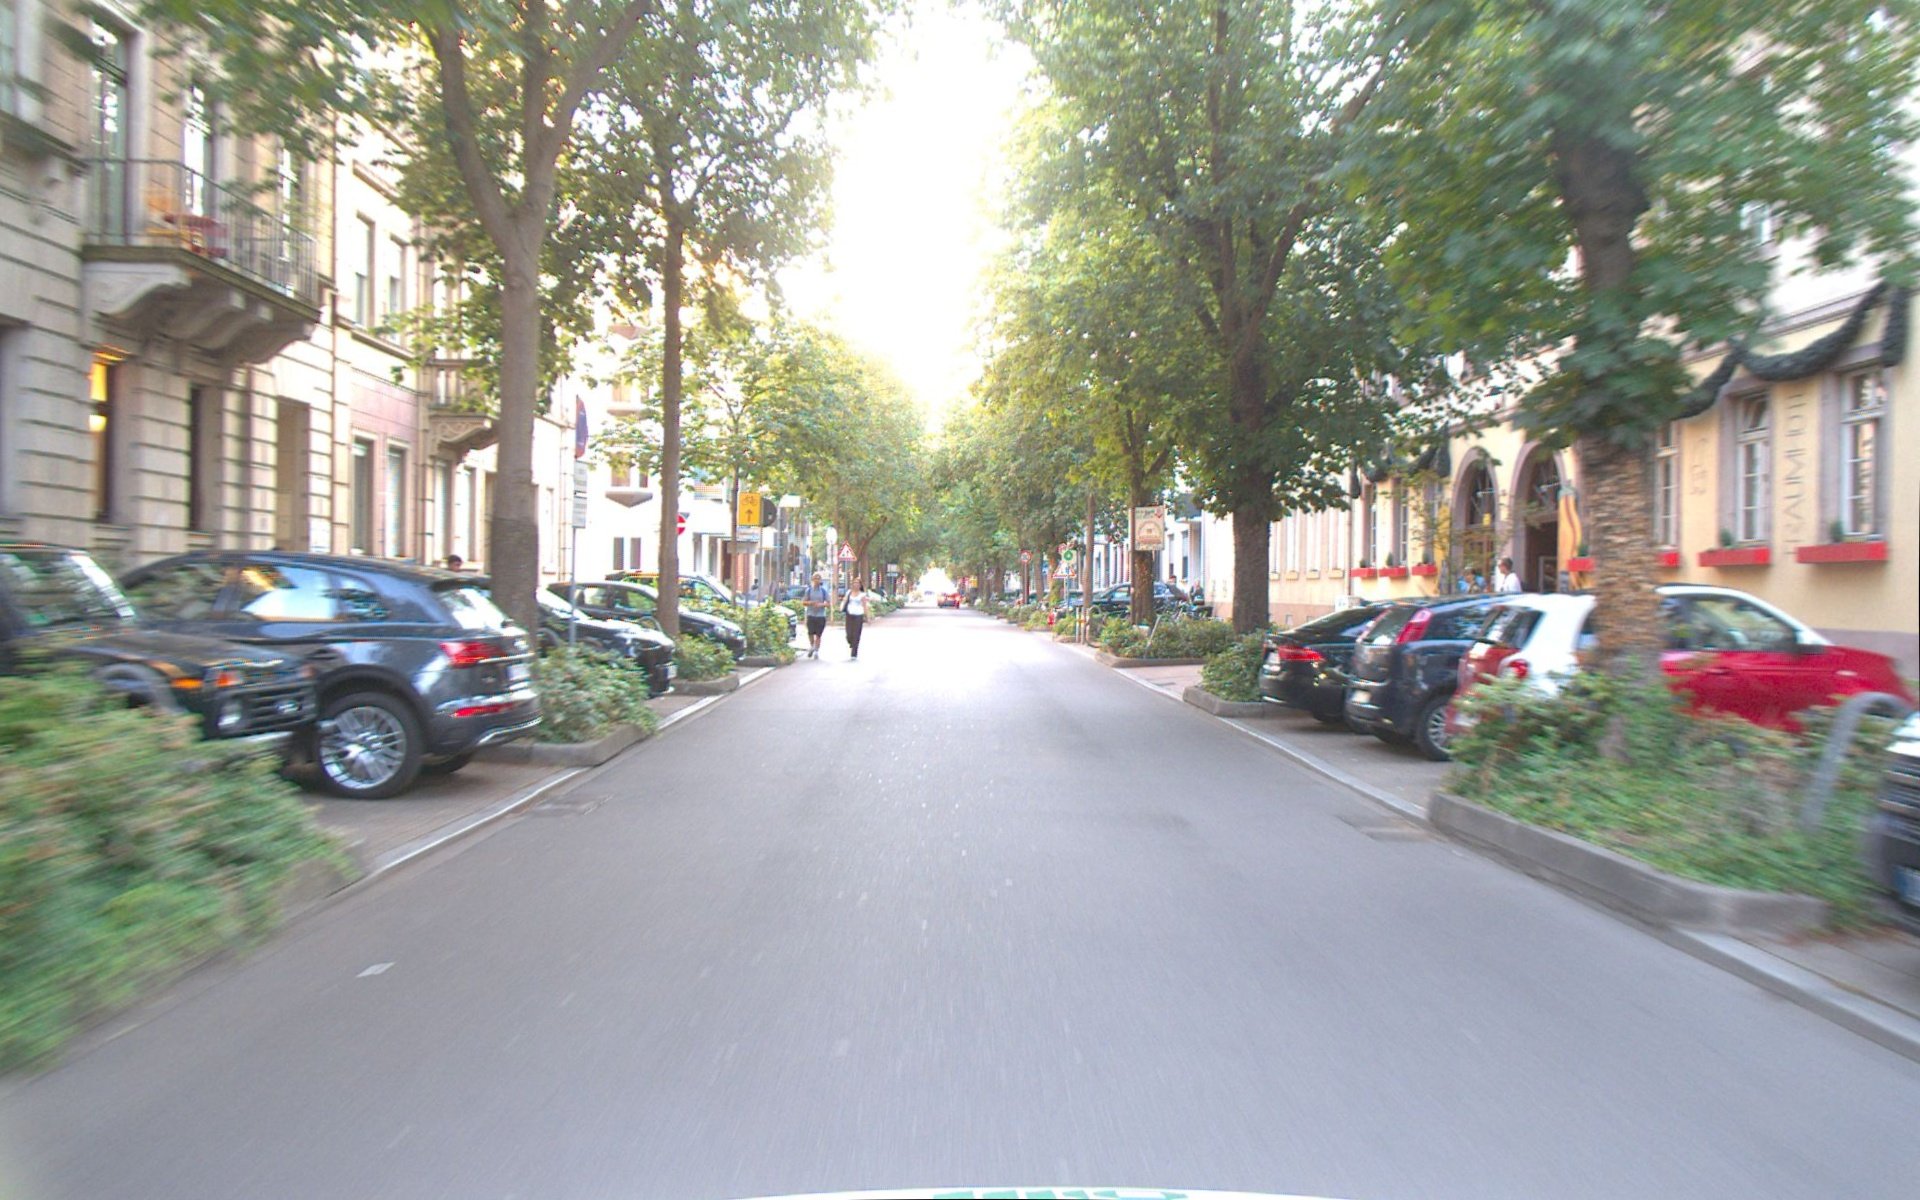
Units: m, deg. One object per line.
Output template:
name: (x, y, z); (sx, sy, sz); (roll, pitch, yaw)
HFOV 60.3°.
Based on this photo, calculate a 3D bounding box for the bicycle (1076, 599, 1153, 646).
bicycle: (3.935, 0.564, 42.150); (1.804, 1.155, 0.743); (-1, 0, -11)

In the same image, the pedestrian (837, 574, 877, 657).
pedestrian: (-2.146, 0.324, 34.479); (0.778, 1.700, 0.831); (0, 0, -2)

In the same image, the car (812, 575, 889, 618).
car: (-6.639, -0.216, 100.639); (4.587, 2.521, 2.000); (1, 0, -1)

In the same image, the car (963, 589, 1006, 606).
car: (2.396, -0.213, 163.784); (4.181, 1.593, 1.962); (-1, 0, -1)

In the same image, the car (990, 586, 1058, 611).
car: (4.176, -0.086, 107.750); (4.414, 1.548, 1.996); (-1, 0, 2)

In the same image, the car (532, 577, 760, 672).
car: (-5.447, 0.407, 29.057); (3.618, 1.483, 1.872); (2, 1, -2)

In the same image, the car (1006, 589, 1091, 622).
car: (4.175, 0.243, 78.460); (3.800, 1.465, 1.846); (-1, 0, -4)

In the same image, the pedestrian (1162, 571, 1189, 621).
pedestrian: (7.679, -0.145, 58.904); (0.683, 1.767, 0.667); (0, 0, -32)

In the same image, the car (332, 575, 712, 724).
car: (-4.959, 0.547, 19.163); (3.865, 1.559, 1.907); (1, 0, -2)

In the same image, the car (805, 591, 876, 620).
car: (-6.646, 0.326, 92.337); (3.791, 1.512, 1.757); (1, 0, 1)

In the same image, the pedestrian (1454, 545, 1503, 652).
pedestrian: (8.798, -0.034, 28.072); (0.602, 1.769, 0.623); (-2, 1, -1)

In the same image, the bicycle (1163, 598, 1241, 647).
bicycle: (5.909, 0.545, 40.409); (1.761, 1.163, 0.650); (-1, 0, -10)

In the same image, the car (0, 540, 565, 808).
car: (-5.237, 0.481, 12.240); (4.116, 1.701, 1.907); (2, 1, -1)

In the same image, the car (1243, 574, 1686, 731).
car: (5.529, 0.547, 18.475); (4.313, 1.418, 1.884); (-3, 0, -3)

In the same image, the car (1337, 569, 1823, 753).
car: (5.856, 0.544, 15.968); (3.907, 1.462, 1.926); (-3, 0, -3)

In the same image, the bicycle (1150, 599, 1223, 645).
bicycle: (5.718, 0.553, 41.776); (1.760, 1.127, 0.499); (-1, 0, -7)

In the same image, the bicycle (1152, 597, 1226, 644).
bicycle: (5.879, 0.527, 42.465); (1.761, 1.163, 0.667); (-1, 0, -10)

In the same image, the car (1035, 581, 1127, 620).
car: (4.765, 0.013, 65.566); (3.414, 1.478, 1.898); (-1, 0, -3)

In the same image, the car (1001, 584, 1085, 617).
car: (4.606, 0.021, 92.391); (4.620, 1.740, 1.950); (1, 1, 1)

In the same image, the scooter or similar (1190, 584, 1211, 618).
scooter or similar: (8.522, 0.039, 58.647); (0.641, 1.173, 0.831); (0, 0, 0)

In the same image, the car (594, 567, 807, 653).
car: (-5.665, 0.196, 36.459); (4.335, 1.680, 1.873); (2, 1, 0)

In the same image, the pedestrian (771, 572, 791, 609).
pedestrian: (-8.874, -0.465, 82.152); (0.689, 1.787, 0.739); (1, 0, 23)

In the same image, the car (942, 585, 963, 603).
car: (-0.710, -0.516, 151.088); (1.917, 1.593, 4.281); (-1, 0, -1)

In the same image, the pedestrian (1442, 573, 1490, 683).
pedestrian: (8.350, 0.447, 27.268); (0.697, 1.769, 0.748); (-1, 1, 19)

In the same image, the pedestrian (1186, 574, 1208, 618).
pedestrian: (8.517, -0.149, 59.402); (0.641, 1.563, 0.831); (0, 0, 0)

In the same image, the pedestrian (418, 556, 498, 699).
pedestrian: (-6.353, 0.337, 20.955); (0.719, 1.769, 0.671); (2, 0, 5)

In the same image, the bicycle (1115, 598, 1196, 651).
bicycle: (4.571, 0.564, 38.654); (1.793, 1.199, 0.673); (-1, 0, -2)

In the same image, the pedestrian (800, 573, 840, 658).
pedestrian: (-2.917, 0.316, 34.622); (0.778, 1.767, 0.831); (0, 0, -2)

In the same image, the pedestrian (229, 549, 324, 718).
pedestrian: (-7.368, 0.348, 17.851); (0.655, 1.769, 0.737); (1, 0, 2)

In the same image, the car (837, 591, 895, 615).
car: (-6.820, 0.238, 120.799); (4.118, 1.664, 1.962); (-1, 0, -1)

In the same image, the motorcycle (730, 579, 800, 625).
motorcycle: (-6.553, 0.073, 55.544); (2.175, 1.507, 0.854); (1, 1, -20)

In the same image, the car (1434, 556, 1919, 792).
car: (5.909, 0.548, 13.361); (3.605, 1.606, 1.714); (-3, 0, -1)

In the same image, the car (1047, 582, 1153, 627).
car: (4.814, 0.152, 57.066); (3.414, 1.478, 1.898); (-1, 0, -3)

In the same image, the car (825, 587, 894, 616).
car: (-6.818, 0.086, 113.075); (4.587, 1.886, 1.962); (-1, 0, -1)

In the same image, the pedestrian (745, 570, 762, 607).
pedestrian: (-9.757, -0.547, 78.281); (0.689, 1.758, 0.905); (1, 0, -1)

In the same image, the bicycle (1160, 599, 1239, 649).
bicycle: (5.736, 0.564, 39.588); (1.760, 1.148, 0.663); (-1, 0, -7)

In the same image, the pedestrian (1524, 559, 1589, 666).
pedestrian: (10.148, 0.201, 28.155); (0.764, 1.769, 0.681); (-2, 1, -17)

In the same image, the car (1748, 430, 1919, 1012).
car: (5.644, 0.315, 5.936); (4.595, 2.046, 2.037); (-3, 0, -2)

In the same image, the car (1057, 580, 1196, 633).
car: (5.384, 0.193, 53.836); (4.335, 1.685, 1.899); (0, 0, 0)

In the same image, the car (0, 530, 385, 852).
car: (-5.602, 0.443, 9.822); (3.724, 1.701, 1.713); (2, 1, -2)
